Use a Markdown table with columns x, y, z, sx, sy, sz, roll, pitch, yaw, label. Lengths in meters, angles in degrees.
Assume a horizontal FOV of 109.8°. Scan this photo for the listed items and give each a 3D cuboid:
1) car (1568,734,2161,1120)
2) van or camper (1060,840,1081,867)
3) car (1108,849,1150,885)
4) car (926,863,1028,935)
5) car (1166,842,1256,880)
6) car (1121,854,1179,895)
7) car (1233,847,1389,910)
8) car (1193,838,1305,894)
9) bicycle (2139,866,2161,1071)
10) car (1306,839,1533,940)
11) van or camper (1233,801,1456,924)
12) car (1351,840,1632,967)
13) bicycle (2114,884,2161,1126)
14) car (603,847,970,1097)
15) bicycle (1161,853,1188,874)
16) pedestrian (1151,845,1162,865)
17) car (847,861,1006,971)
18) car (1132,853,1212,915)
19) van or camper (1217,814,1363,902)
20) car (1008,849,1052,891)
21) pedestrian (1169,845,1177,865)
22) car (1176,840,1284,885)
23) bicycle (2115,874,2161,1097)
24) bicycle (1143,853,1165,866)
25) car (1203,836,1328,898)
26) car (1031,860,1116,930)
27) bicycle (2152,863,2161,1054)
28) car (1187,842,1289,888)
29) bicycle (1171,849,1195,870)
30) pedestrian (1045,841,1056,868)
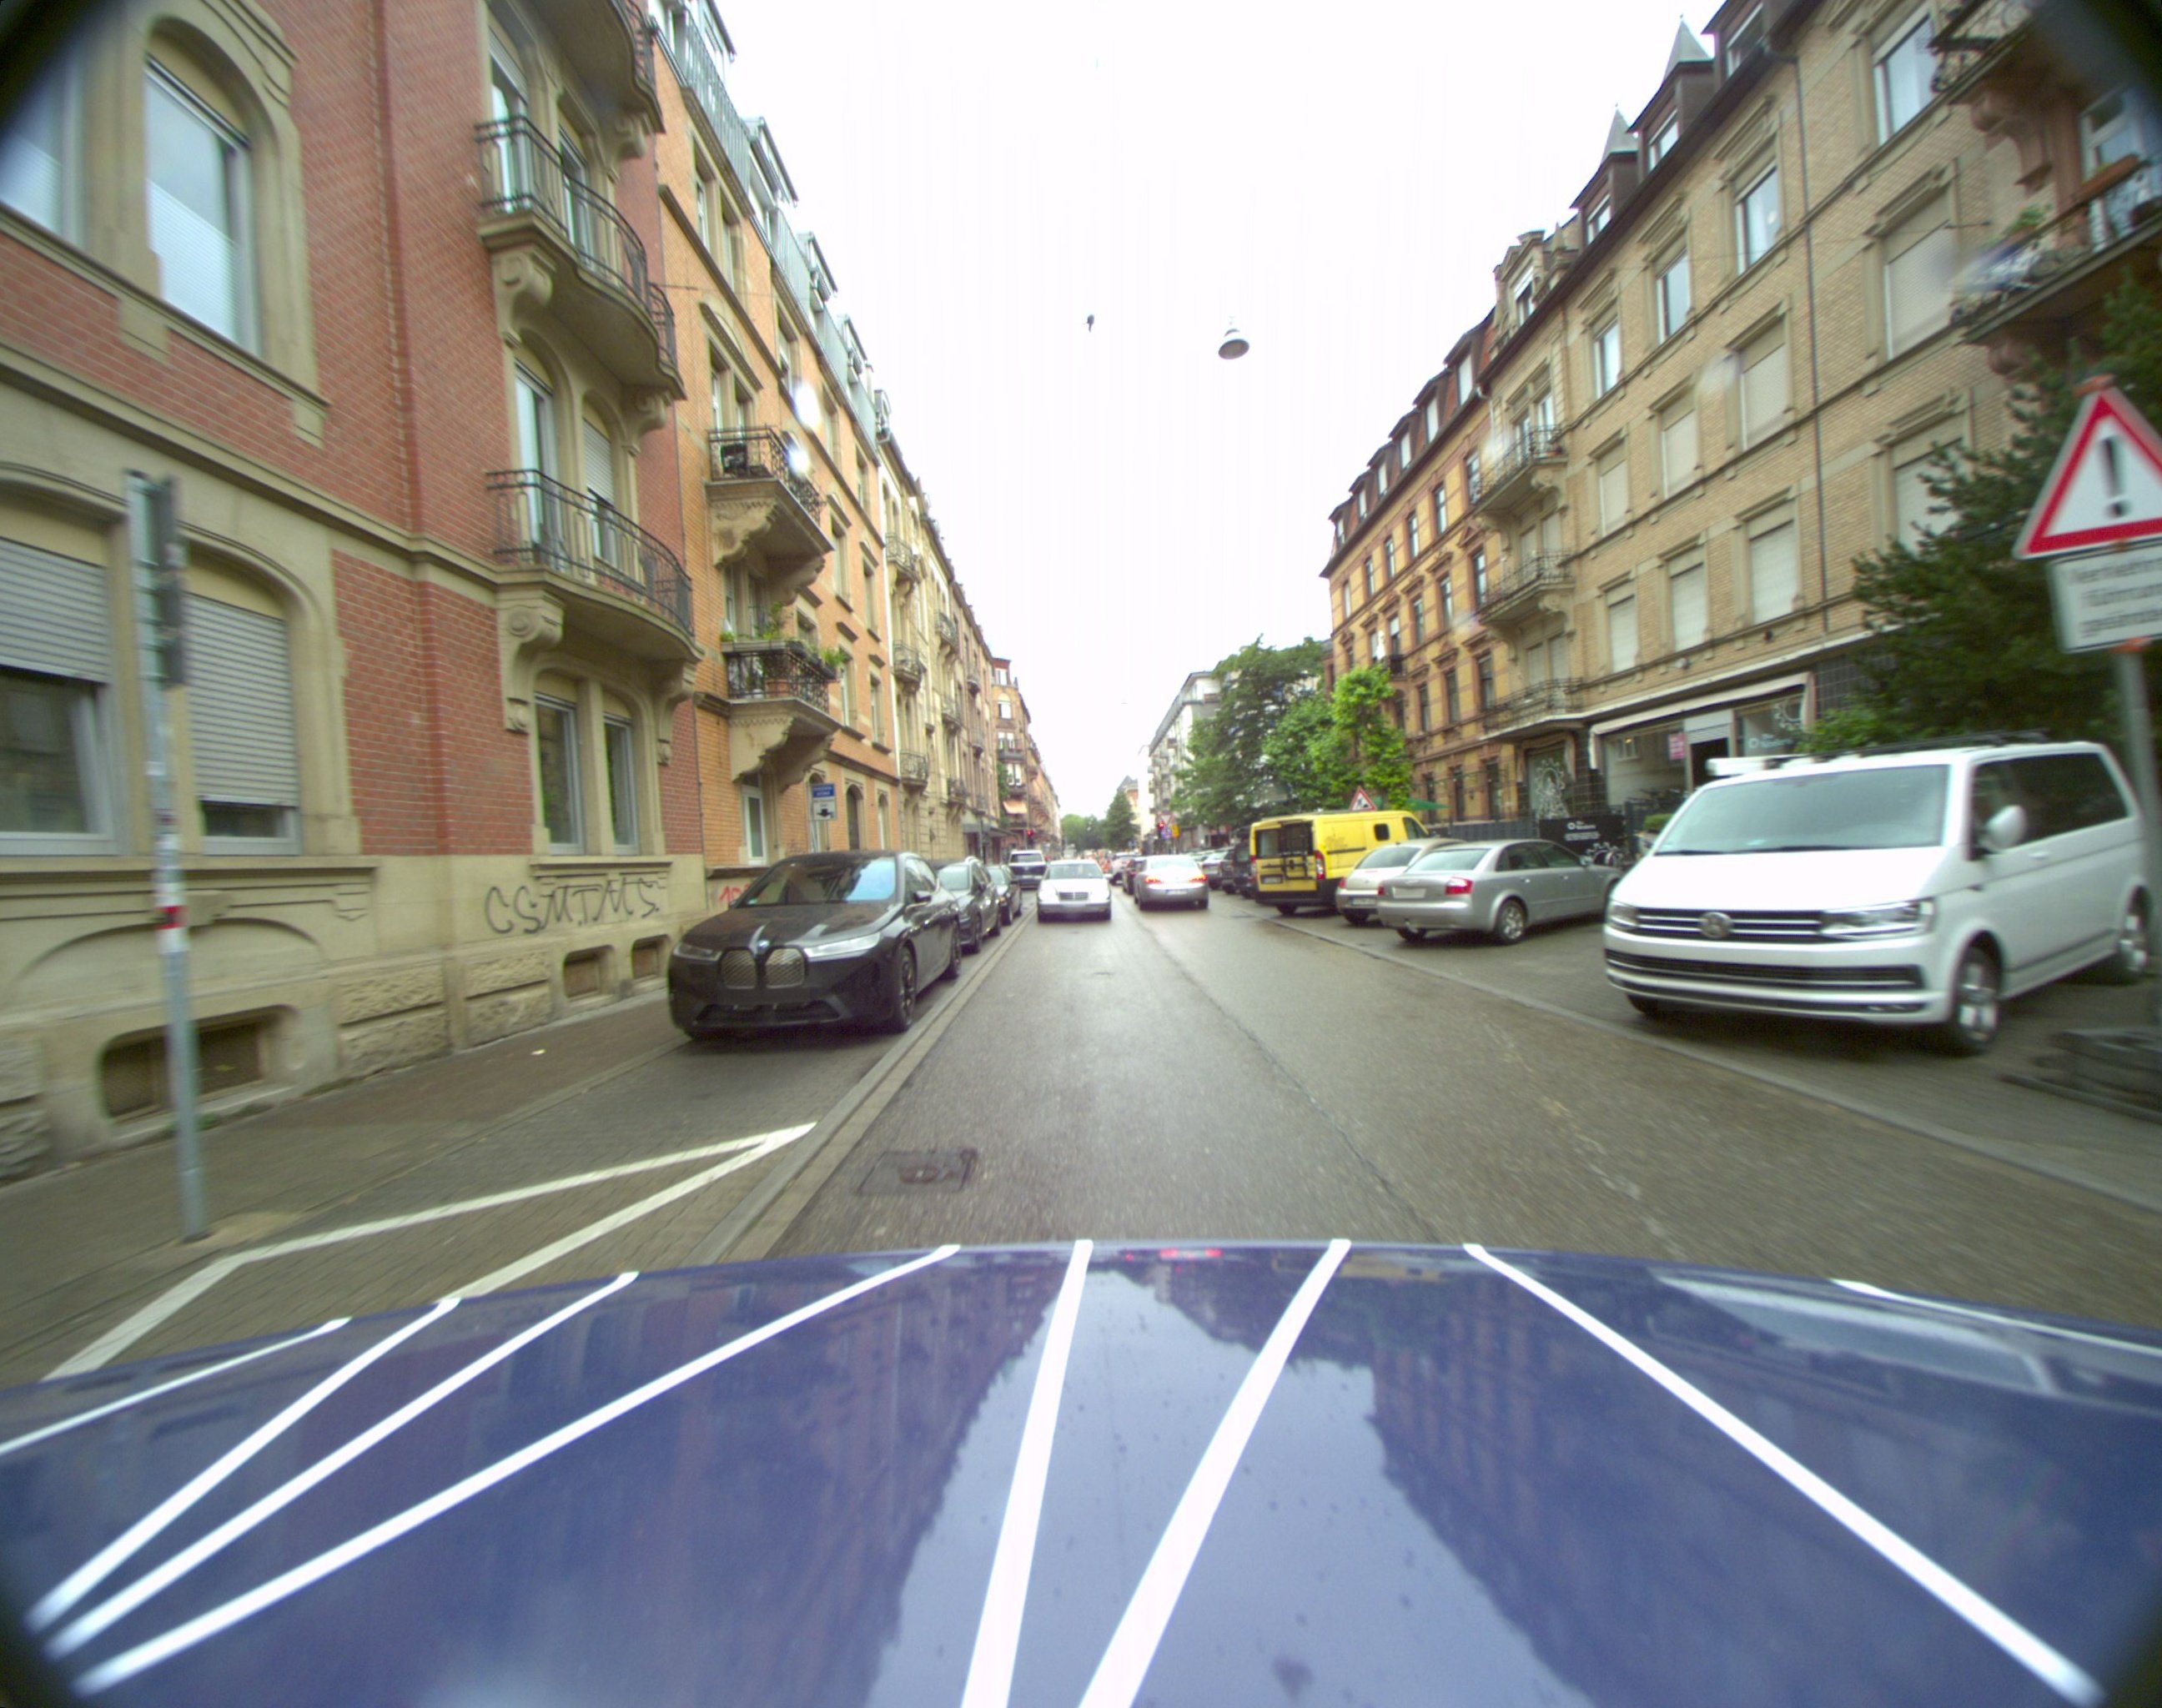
| x | y | z | sx | sy | sz | roll | pitch | yaw | label |
| --- | --- | --- | --- | --- | --- | --- | --- | --- | --- |
| 6.506 | 0.239 | 5.977 | 5.258 | 2.066 | 1.866 | -4 | 1 | -24 | car |
| -1.428 | 0.000 | 100.527 | 2.411 | 3.308 | 7.072 | -4 | 0 | -1 | van or camper |
| 2.424 | 0.632 | 39.648 | 1.863 | 1.650 | 5.008 | -3 | 0 | 1 | car |
| -2.445 | 1.018 | 18.951 | 1.791 | 1.458 | 4.484 | -3 | 0 | 1 | car |
| 6.859 | 0.330 | 39.791 | 4.464 | 1.555 | 1.995 | -6 | 3 | -36 | car |
| 2.666 | 0.797 | 30.164 | 1.800 | 1.485 | 4.138 | 0 | -1 | -2 | car |
| 6.284 | 0.625 | 20.652 | 4.006 | 1.486 | 1.823 | -1 | 0 | -32 | car |
| 6.522 | 0.447 | 29.321 | 4.144 | 1.652 | 1.797 | -7 | 2 | -36 | car |
| 6.982 | 0.640 | 3.714 | 0.483 | 1.168 | 2.040 | -4 | 0 | -30 | bicycle |
| 6.430 | 0.587 | 14.376 | 3.924 | 1.486 | 1.959 | -4 | 1 | -30 | car |
| 6.096 | 0.150 | 17.418 | 4.733 | 2.254 | 2.180 | -6 | 0 | -32 | van or camper |
| 6.231 | 0.644 | 11.477 | 4.005 | 1.427 | 1.781 | -4 | 1 | -28 | car |
| 6.047 | 0.727 | 3.132 | 0.545 | 1.168 | 2.040 | -4 | 0 | -30 | bicycle |
| -2.544 | 0.865 | 8.081 | 1.999 | 1.769 | 4.825 | -3 | 0 | -1 | car |
| 5.156 | 0.531 | 41.965 | 0.588 | 1.137 | 1.679 | -5 | 1 | -28 | bicycle |
| 7.289 | 0.093 | 73.607 | 0.862 | 1.837 | 0.770 | -4 | 0 | 9 | pedestrian |
| -2.562 | 0.961 | 13.724 | 1.876 | 1.552 | 4.345 | -2 | 0 | 1 | car |
| 2.490 | 0.767 | 21.810 | 1.800 | 1.485 | 4.583 | -4 | 0 | 2 | car |
| 6.485 | 0.072 | 23.429 | 4.089 | 2.227 | 1.932 | -7 | 3 | -32 | van or camper |
| -2.508 | 0.723 | 38.405 | 1.999 | 1.927 | 5.228 | -2 | 1 | -2 | car |
| 8.747 | 0.123 | 72.443 | 0.604 | 1.837 | 0.770 | -4 | 0 | 9 | pedestrian |
| 6.889 | 0.381 | 34.972 | 4.731 | 1.554 | 1.996 | -6 | 0 | -34 | car |
| 6.534 | 0.686 | 3.435 | 0.545 | 1.177 | 2.124 | -4 | 0 | -30 | bicycle |
| 7.094 | 0.502 | 73.527 | 1.896 | 1.028 | 0.661 | -6 | 0 | -14 | bicycle |
| 6.394 | 0.417 | 26.159 | 4.144 | 1.653 | 1.797 | -7 | 3 | -36 | car |
| -0.097 | 0.957 | 19.754 | 1.859 | 1.390 | 4.980 | -3 | 0 | 1 | car |
| 7.450 | 0.617 | 3.990 | 0.545 | 1.168 | 2.040 | -4 | 0 | -30 | bicycle |
| 6.731 | 0.442 | 32.343 | 4.143 | 1.485 | 1.797 | -7 | 3 | -35 | car |
| 5.623 | 0.301 | 41.947 | 0.400 | 1.137 | 1.679 | -5 | 1 | -25 | bicycle |
| -2.934 | 0.054 | 73.579 | 0.696 | 2.594 | 0.539 | -5 | 1 | -31 | pedestrian |
